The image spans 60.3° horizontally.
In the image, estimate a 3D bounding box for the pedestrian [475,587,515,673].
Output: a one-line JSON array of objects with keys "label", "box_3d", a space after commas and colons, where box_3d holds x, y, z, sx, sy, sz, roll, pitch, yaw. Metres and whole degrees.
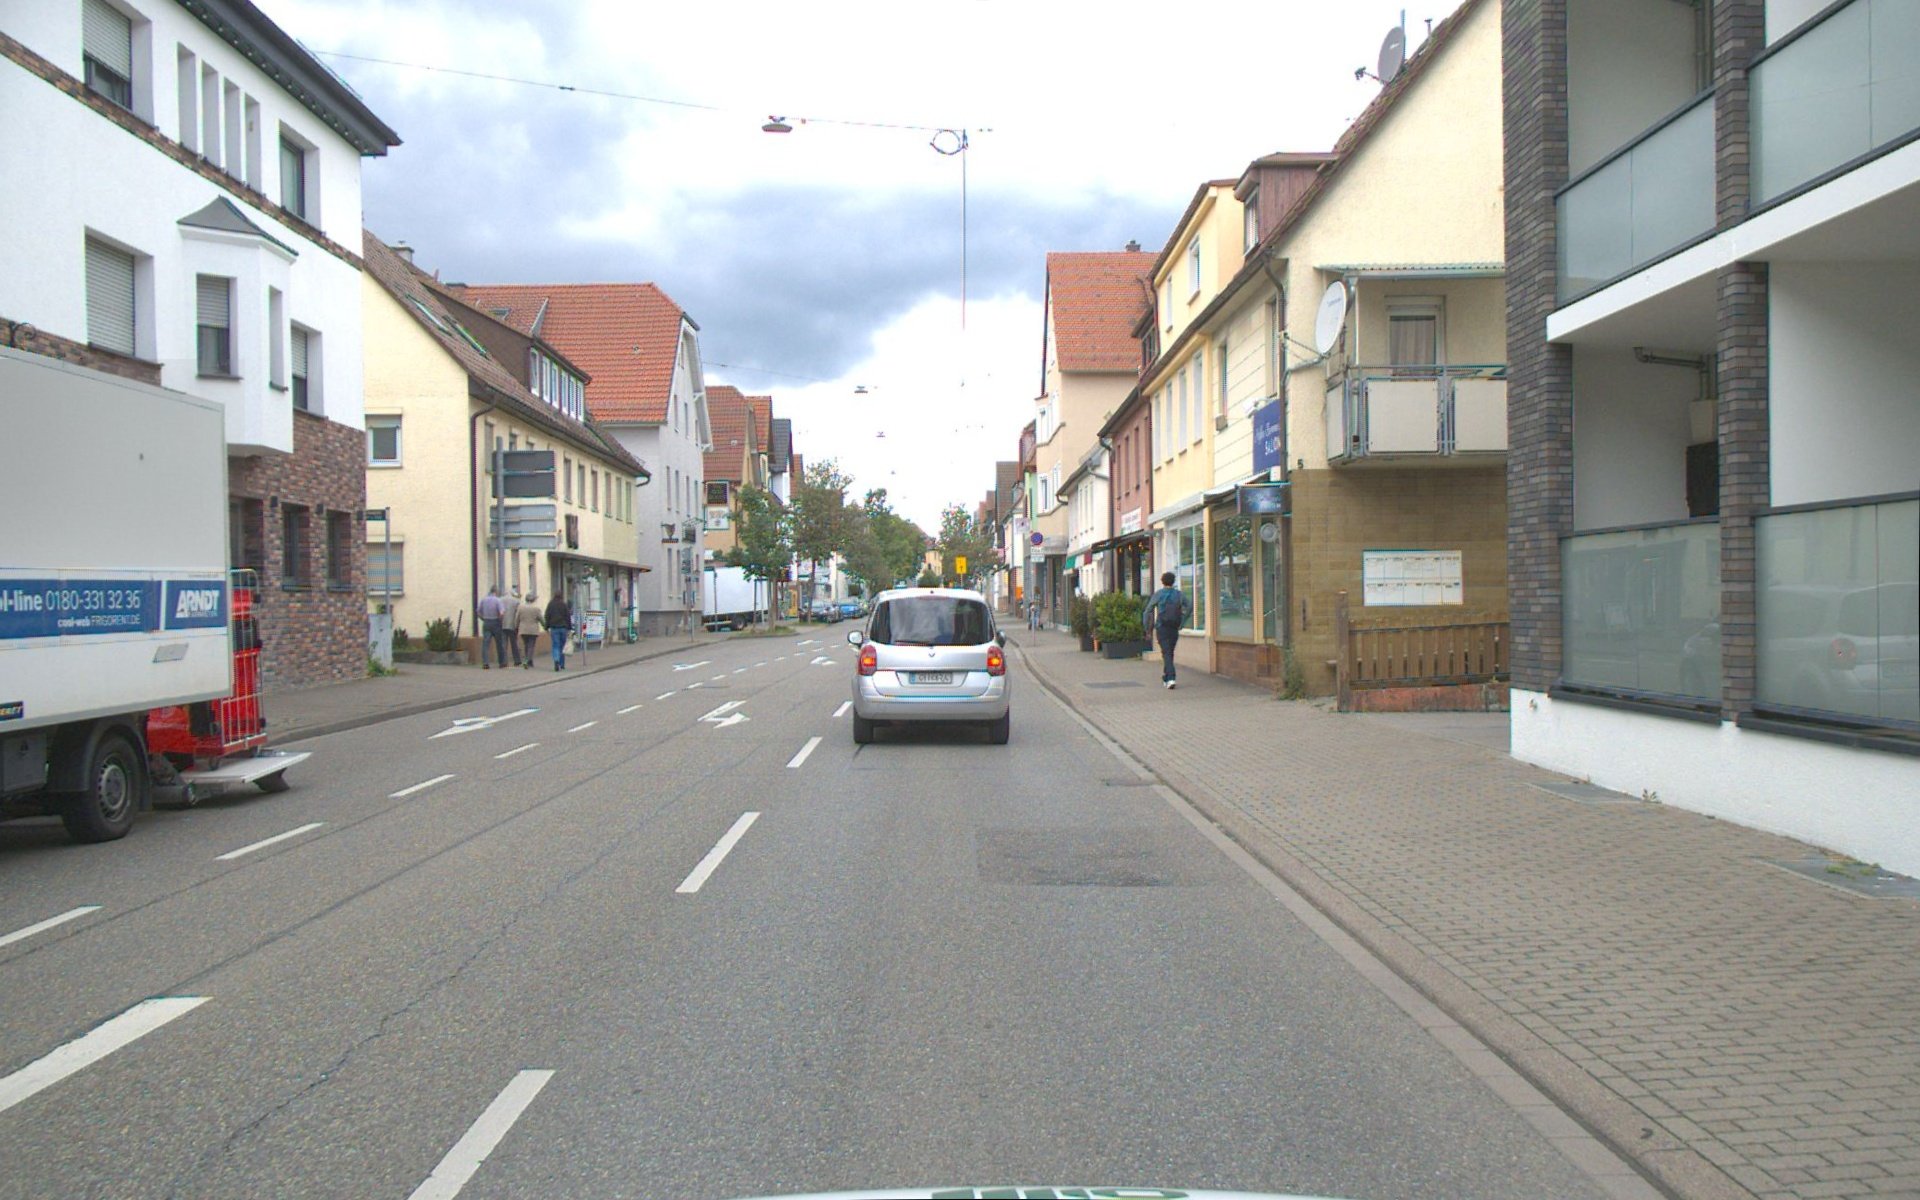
[{"label": "pedestrian", "box_3d": [-9.744, 0.627, 34.667, 0.634, 1.787, 0.687, 0, 0, -1]}]

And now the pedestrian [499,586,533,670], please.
[{"label": "pedestrian", "box_3d": [-9.627, 0.599, 35.892, 0.567, 1.787, 0.687, 0, 0, -1]}]

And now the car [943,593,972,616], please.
[{"label": "car", "box_3d": [-0.205, 0.282, 107.266, 1.776, 1.377, 3.999, -2, 0, -1]}]

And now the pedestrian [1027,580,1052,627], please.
[{"label": "pedestrian", "box_3d": [3.232, 0.139, 67.462, 0.871, 1.817, 0.785, -4, 0, -1]}]

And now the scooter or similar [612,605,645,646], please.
[{"label": "scooter or similar", "box_3d": [-10.874, 0.824, 54.254, 0.564, 1.291, 2.548, -2, 0, -1]}]

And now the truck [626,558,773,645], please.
[{"label": "truck", "box_3d": [-12.405, 0.025, 79.295, 2.557, 3.924, 6.811, -2, 0, 41]}]

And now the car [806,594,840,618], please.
[{"label": "car", "box_3d": [-8.427, 0.365, 102.205, 1.776, 1.377, 3.999, -2, 0, -1]}]

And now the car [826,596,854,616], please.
[{"label": "car", "box_3d": [-8.931, 0.407, 123.554, 1.776, 1.377, 3.999, -2, 0, -1]}]

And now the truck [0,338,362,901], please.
[{"label": "truck", "box_3d": [-6.354, 0.141, 10.179, 2.386, 3.005, 8.361, -3, 0, -2]}]

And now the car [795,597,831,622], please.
[{"label": "car", "box_3d": [-8.581, 0.544, 96.786, 1.776, 1.377, 3.999, -2, 0, -1]}]

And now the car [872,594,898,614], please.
[{"label": "car", "box_3d": [-5.589, 0.305, 124.116, 1.776, 1.377, 3.856, -2, 0, -1]}]

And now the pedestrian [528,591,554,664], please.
[{"label": "pedestrian", "box_3d": [-9.037, 0.594, 35.703, 0.417, 1.552, 0.553, 0, 0, -1]}]

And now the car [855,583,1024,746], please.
[{"label": "car", "box_3d": [-0.261, 0.635, 18.426, 1.672, 1.606, 3.999, 0, 0, -2]}]

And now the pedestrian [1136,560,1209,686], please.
[{"label": "pedestrian", "box_3d": [3.199, 0.339, 24.921, 0.871, 1.817, 0.785, -4, 0, -1]}]

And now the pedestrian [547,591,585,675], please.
[{"label": "pedestrian", "box_3d": [-8.434, 0.693, 35.389, 0.649, 1.787, 0.687, 0, 0, -1]}]

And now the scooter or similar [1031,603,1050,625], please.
[{"label": "scooter or similar", "box_3d": [3.317, 0.594, 68.287, 0.666, 0.847, 0.822, -4, 0, -1]}]
